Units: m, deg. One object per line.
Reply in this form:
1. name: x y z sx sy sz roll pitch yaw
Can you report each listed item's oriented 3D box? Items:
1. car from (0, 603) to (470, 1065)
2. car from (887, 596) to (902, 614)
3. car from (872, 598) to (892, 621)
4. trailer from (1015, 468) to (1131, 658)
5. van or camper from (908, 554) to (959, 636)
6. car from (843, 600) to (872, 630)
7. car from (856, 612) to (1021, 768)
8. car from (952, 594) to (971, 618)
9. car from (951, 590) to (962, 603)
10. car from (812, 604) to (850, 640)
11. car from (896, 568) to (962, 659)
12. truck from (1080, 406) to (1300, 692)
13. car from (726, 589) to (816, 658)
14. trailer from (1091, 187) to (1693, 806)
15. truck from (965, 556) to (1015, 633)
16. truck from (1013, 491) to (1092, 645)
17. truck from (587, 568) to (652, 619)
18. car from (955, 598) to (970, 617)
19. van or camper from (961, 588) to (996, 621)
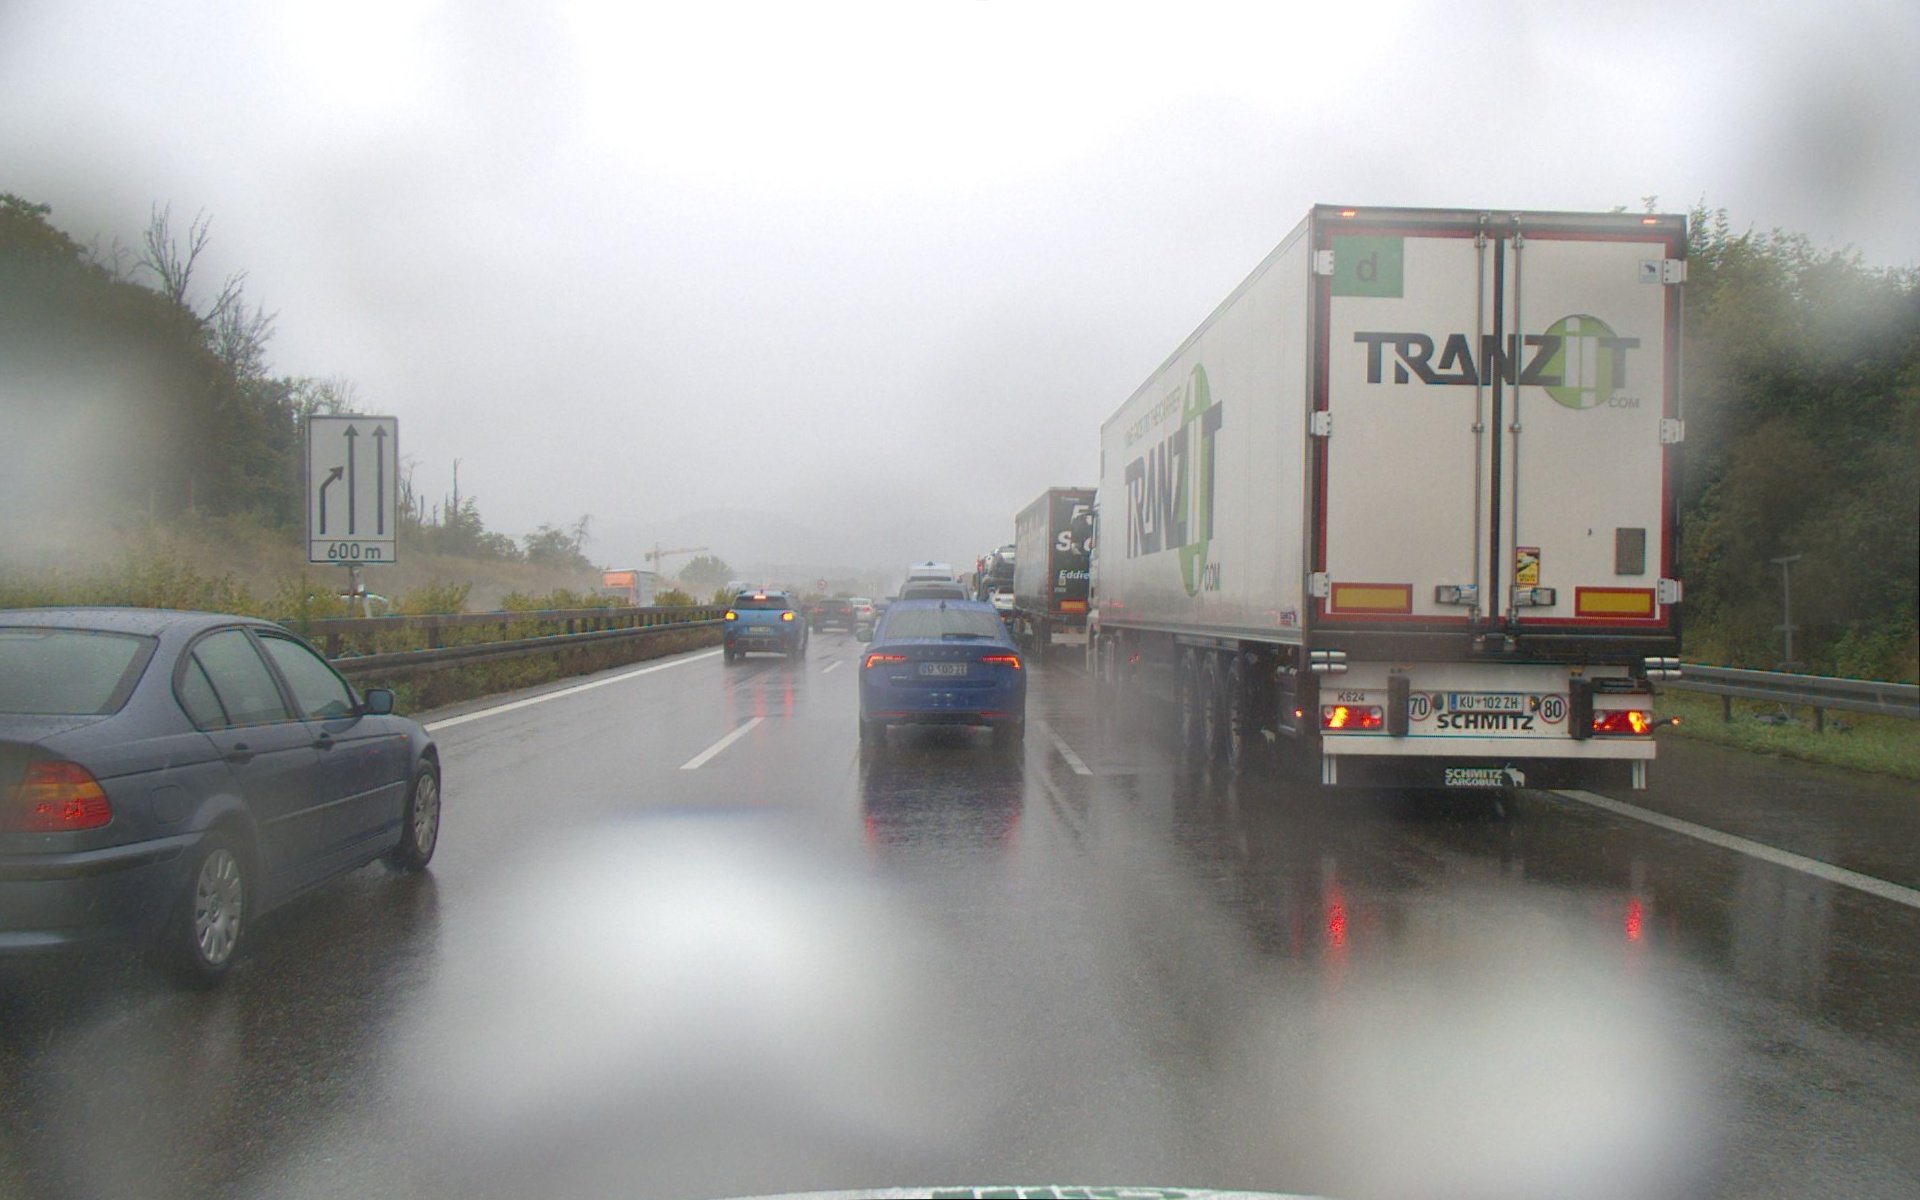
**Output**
1. car: -3.570 0.741 7.295 1.683 1.424 4.228 0 0 -2
2. car: -6.572 0.496 166.340 1.419 1.815 3.408 1 0 -1
3. car: -6.130 0.736 129.719 1.419 1.815 3.408 1 0 -1
4. trailer: 2.718 -0.876 42.631 2.005 4.249 11.446 0 0 -1
5. van or camper: -0.967 -0.182 60.033 1.761 2.855 4.767 0 0 -1
6. car: -5.380 0.770 87.019 1.410 1.560 3.321 0 0 -1
7. car: -0.220 0.893 18.083 1.602 1.470 4.000 0 0 0
8. car: 0.135 0.454 130.700 1.419 1.815 3.408 1 0 -1
9. car: -0.453 -0.459 222.184 1.419 1.815 3.408 1 0 -1
10. car: -5.449 0.915 70.325 1.410 1.445 3.321 0 0 -1
11. car: -0.643 0.262 34.733 1.309 1.811 3.321 0 0 -1
12. truck: 3.322 -0.713 24.982 2.577 3.894 4.790 0 0 -1
13. car: -4.467 0.531 39.479 1.686 1.550 4.000 0 0 0
14. trailer: 3.446 -0.742 18.264 2.577 4.083 14.626 0 0 -1
15. truck: 1.374 -0.321 79.236 1.953 3.481 8.029 0 1 -2
16. truck: 2.632 -0.911 48.011 2.005 4.266 3.999 0 0 -1
17. truck: -23.409 -0.498 114.165 2.867 3.339 9.252 0 1 -2
18. car: 0.203 0.675 142.123 1.223 1.538 3.107 -1 1 -1
19. van or camper: 0.954 0.217 89.028 1.736 1.653 4.483 0 1 -1
